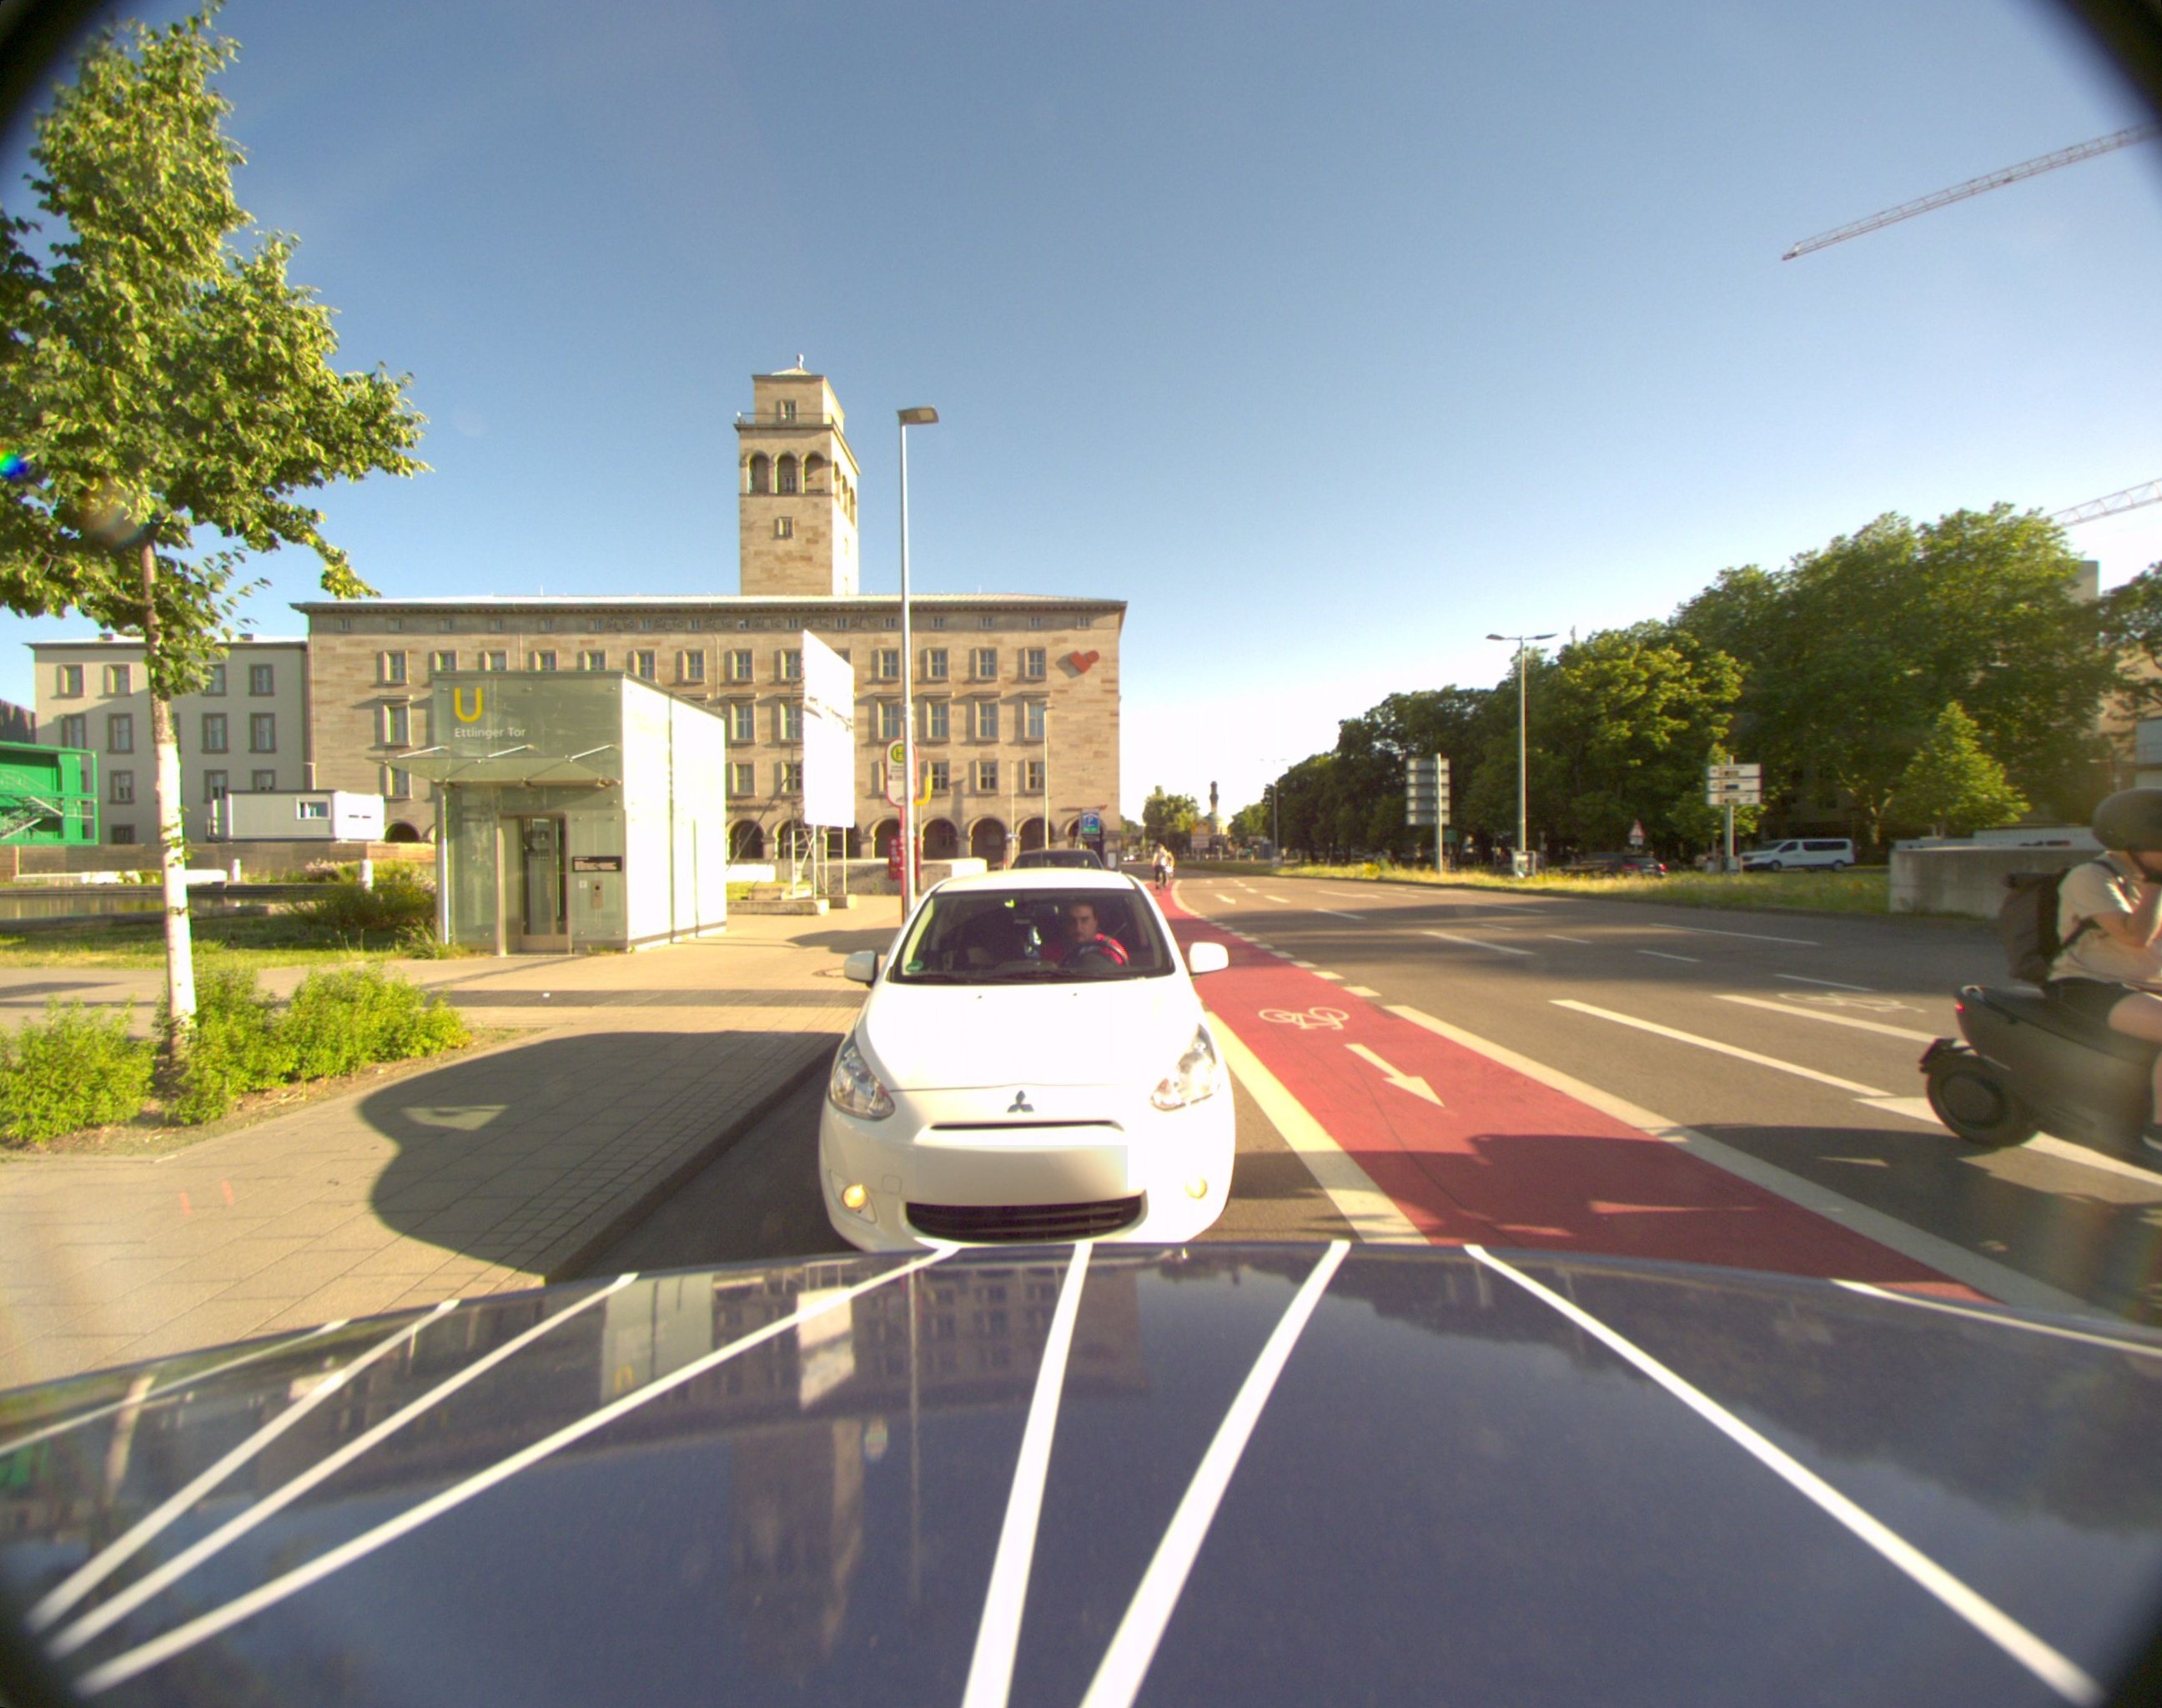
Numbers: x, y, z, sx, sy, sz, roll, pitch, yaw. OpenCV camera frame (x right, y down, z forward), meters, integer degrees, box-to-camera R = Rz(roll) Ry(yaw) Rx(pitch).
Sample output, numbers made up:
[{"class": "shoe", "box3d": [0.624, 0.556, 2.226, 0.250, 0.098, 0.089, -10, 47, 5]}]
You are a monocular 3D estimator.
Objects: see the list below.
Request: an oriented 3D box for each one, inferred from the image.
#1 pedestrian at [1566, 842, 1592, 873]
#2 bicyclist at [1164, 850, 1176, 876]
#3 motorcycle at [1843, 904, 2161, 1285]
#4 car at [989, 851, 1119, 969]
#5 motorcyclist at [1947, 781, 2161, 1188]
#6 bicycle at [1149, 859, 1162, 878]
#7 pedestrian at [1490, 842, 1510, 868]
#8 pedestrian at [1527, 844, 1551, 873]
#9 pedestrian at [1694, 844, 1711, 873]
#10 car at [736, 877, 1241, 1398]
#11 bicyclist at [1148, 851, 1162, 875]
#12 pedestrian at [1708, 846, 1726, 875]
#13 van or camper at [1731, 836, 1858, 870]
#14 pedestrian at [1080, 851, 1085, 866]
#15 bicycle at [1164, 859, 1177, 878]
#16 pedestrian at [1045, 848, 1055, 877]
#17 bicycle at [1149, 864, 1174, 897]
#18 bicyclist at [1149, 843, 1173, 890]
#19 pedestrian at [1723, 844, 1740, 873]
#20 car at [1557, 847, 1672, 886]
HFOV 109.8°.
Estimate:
[{"class": "pedestrian", "box3d": [33.139, 0.221, 50.547, 1.126, 1.952, 0.815, -2, 1, 1]}, {"class": "bicyclist", "box3d": [5.720, 0.541, 48.772, 0.674, 1.649, 0.877, -1, 1, 1]}, {"class": "motorcycle", "box3d": [4.275, 0.899, 2.887, 0.828, 1.273, 1.944, -1, 0, 1]}, {"class": "car", "box3d": [-0.353, 0.796, 12.835, 1.833, 1.660, 4.000, -1, 0, 1]}, {"class": "motorcyclist", "box3d": [4.281, 0.462, 2.954, 0.823, 1.455, 0.877, -1, 1, 1]}, {"class": "bicycle", "box3d": [4.809, 0.949, 49.330, 0.689, 1.185, 1.506, -1, 1, 1]}, {"class": "pedestrian", "box3d": [32.587, 0.059, 59.085, 0.841, 2.002, 0.955, -3, 1, -25]}, {"class": "pedestrian", "box3d": [32.621, 0.315, 54.137, 0.951, 1.952, 1.058, -2, 1, -14]}, {"class": "pedestrian", "box3d": [32.385, 0.235, 39.578, 0.499, 1.502, 0.494, -1, 1, 1]}, {"class": "car", "box3d": [-0.253, 0.927, 4.313, 1.519, 1.447, 4.000, -1, 0, 1]}, {"class": "bicyclist", "box3d": [4.775, 0.563, 49.265, 0.823, 1.568, 0.877, -1, 1, 1]}, {"class": "pedestrian", "box3d": [33.210, 0.356, 39.679, 0.499, 1.502, 0.494, -1, 1, 1]}, {"class": "van or camper", "box3d": [42.242, -0.046, 45.066, 5.499, 1.934, 1.951, -1, 0, 4]}, {"class": "pedestrian", "box3d": [0.160, 0.634, 104.345, 0.612, 2.002, 0.727, -2, 1, 0]}, {"class": "bicycle", "box3d": [5.726, 0.909, 48.720, 0.689, 1.185, 1.506, -1, 1, 1]}, {"class": "pedestrian", "box3d": [-1.797, 0.469, 44.607, 0.552, 1.692, 0.553, -1, 1, -1]}, {"class": "bicycle", "box3d": [2.966, 0.982, 28.290, 0.741, 1.140, 1.890, -1, 0, 1]}, {"class": "bicyclist", "box3d": [2.955, 0.459, 28.168, 0.807, 1.690, 0.852, -1, 1, 1]}, {"class": "pedestrian", "box3d": [34.067, 0.223, 39.786, 0.499, 1.502, 0.494, -1, 1, 1]}, {"class": "car", "box3d": [21.402, 0.459, 30.709, 1.881, 1.472, 3.980, -1, 0, 1]}]
